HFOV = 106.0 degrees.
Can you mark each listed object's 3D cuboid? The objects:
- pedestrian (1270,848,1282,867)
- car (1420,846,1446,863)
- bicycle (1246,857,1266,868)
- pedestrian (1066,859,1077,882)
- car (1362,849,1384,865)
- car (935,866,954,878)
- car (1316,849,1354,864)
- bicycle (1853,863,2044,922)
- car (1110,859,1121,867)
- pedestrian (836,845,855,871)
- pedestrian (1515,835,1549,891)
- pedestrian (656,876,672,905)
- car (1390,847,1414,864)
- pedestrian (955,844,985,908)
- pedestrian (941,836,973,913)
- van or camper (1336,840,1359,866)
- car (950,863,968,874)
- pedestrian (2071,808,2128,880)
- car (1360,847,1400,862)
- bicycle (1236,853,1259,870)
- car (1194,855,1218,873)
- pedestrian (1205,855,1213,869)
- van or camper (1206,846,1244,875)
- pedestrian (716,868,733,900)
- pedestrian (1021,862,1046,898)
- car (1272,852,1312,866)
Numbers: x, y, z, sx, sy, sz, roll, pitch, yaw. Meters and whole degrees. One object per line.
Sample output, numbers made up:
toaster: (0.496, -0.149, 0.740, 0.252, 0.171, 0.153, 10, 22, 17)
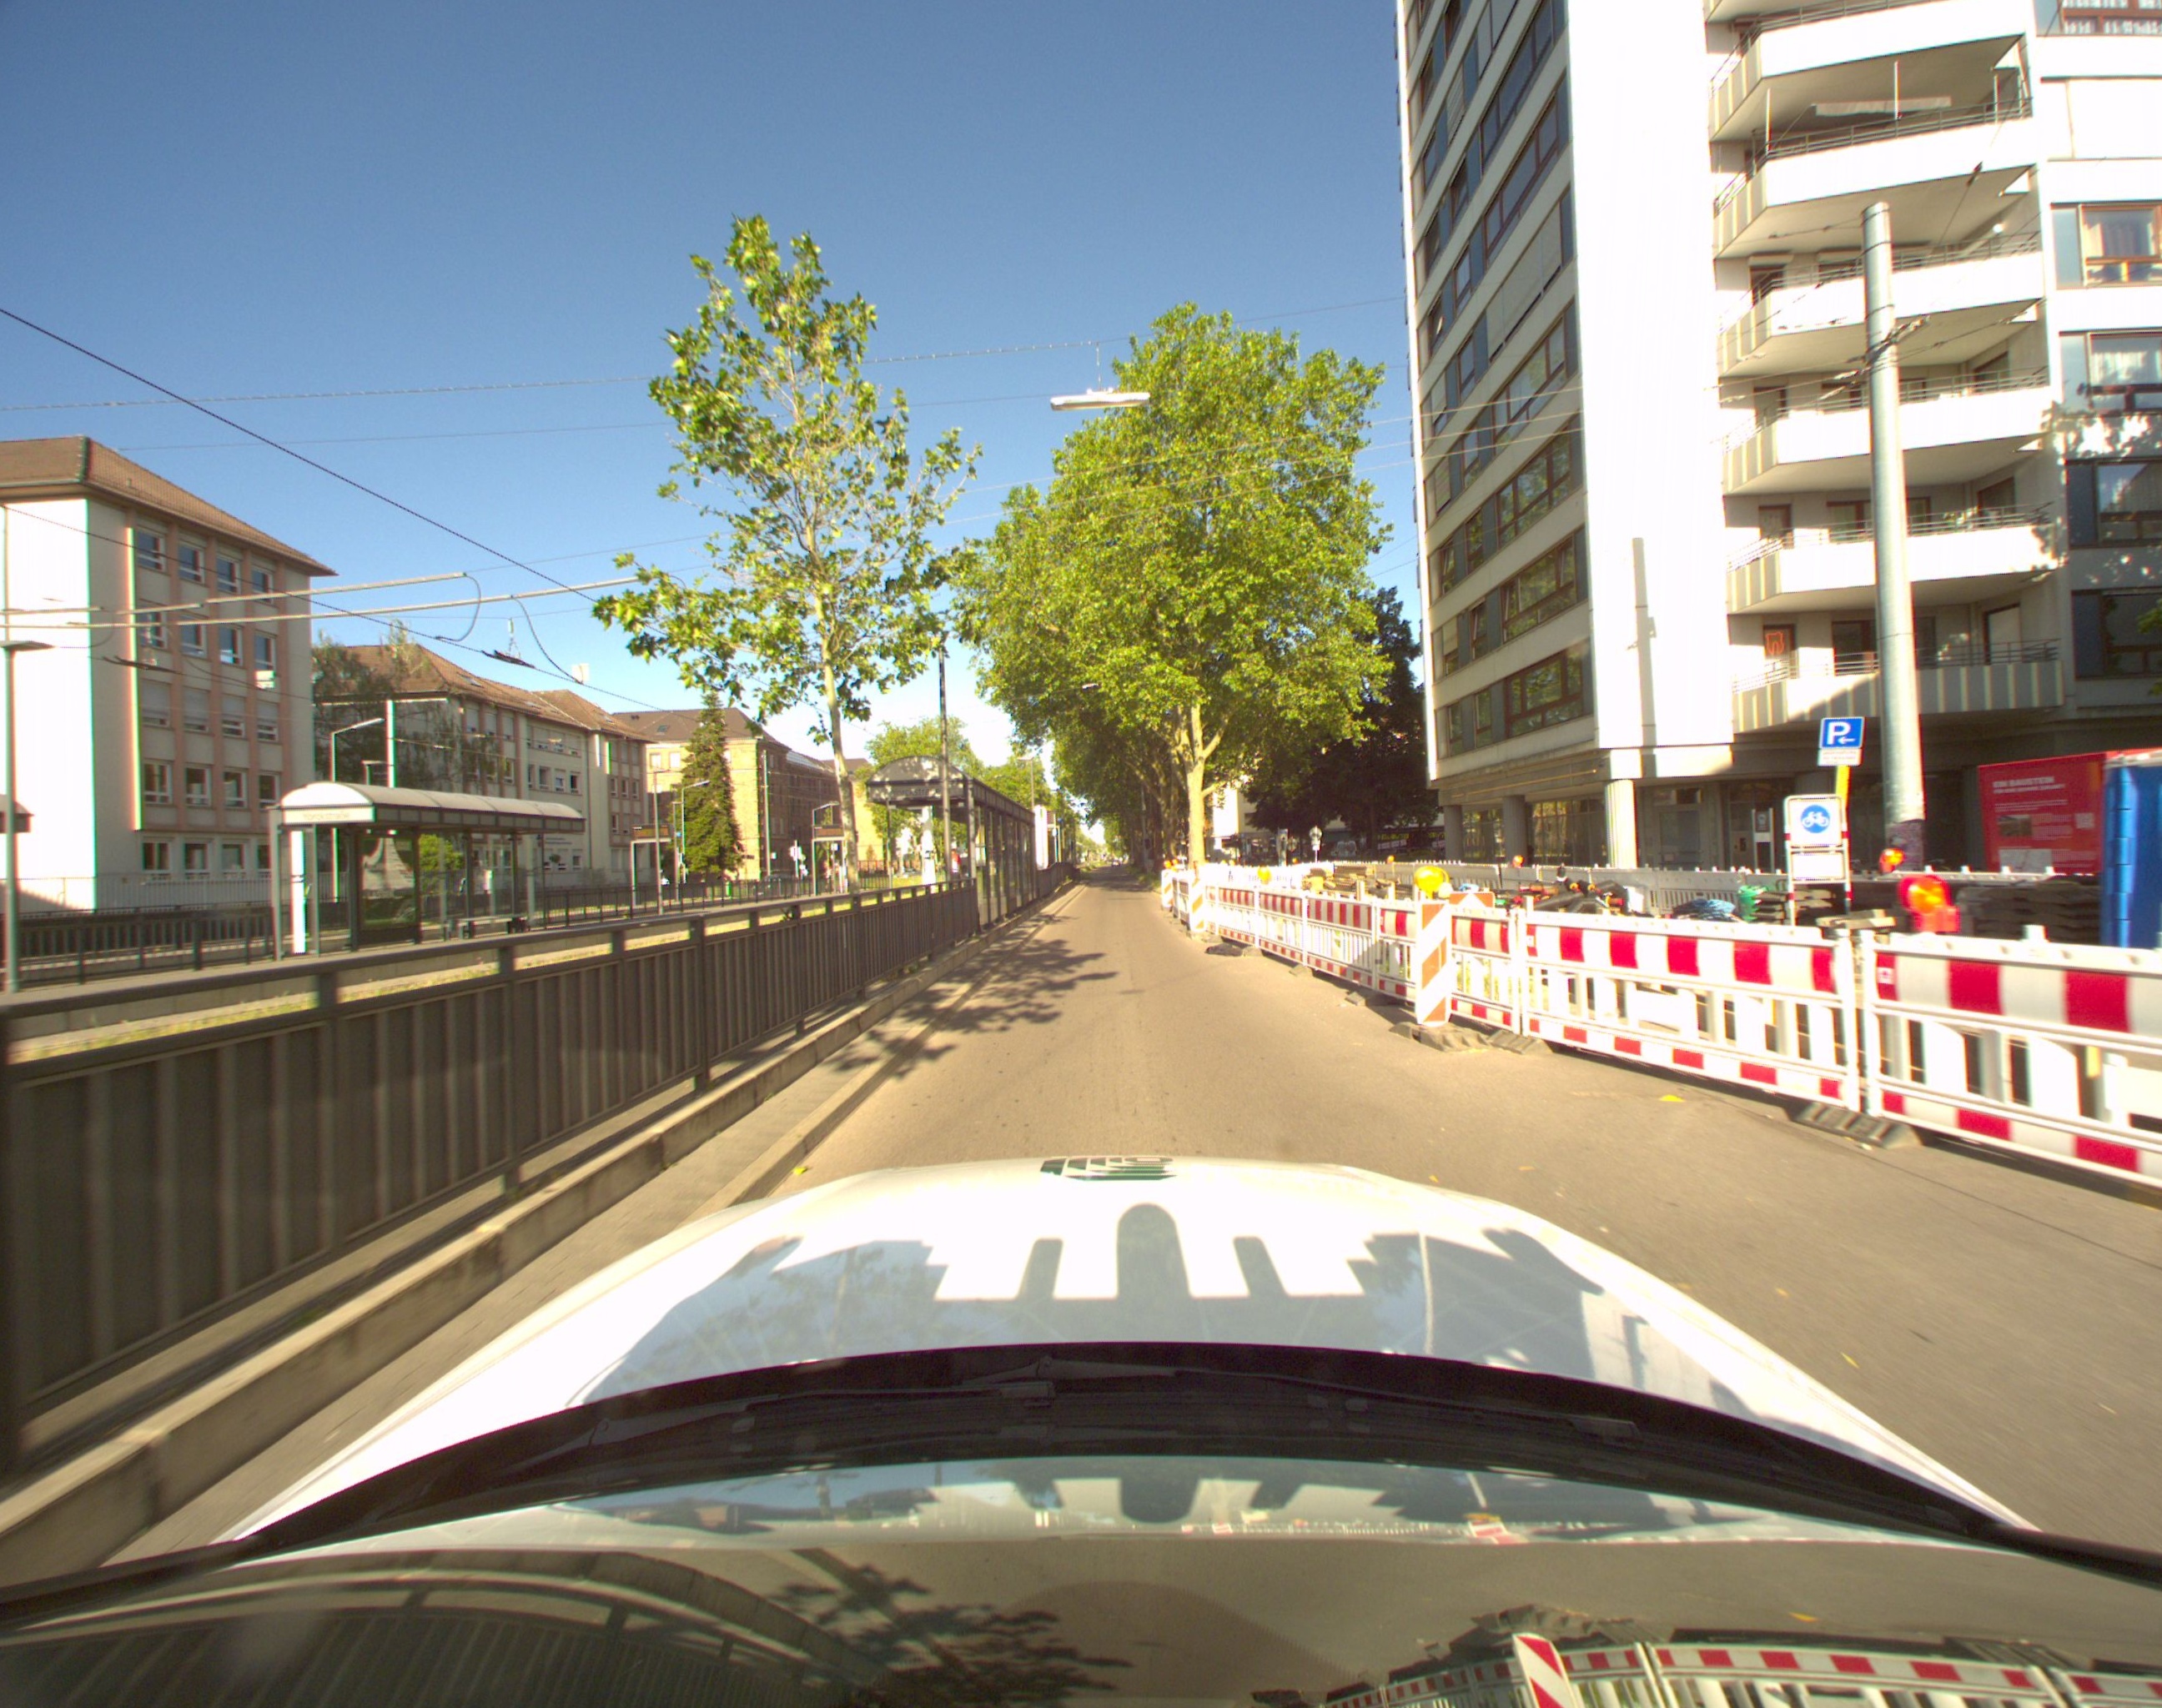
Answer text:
pedestrian: (16.242, 0.290, 67.723, 0.729, 1.616, 1.036, -2, -1, 2)
car: (37.199, 0.033, 86.204, 1.978, 1.628, 4.409, -2, -1, 17)
bicycle: (19.818, 0.947, 92.017, 2.118, 1.103, 0.511, -2, -1, 27)
pedestrian: (-0.704, 1.188, 59.614, 0.709, 1.680, 0.772, -2, -1, 1)
car: (31.389, 0.299, 87.568, 1.978, 1.669, 4.766, -2, -1, 17)
car: (-21.288, 2.733, 127.182, 1.985, 1.649, 4.831, -2, 0, 3)
car: (30.868, 0.302, 98.966, 4.346, 1.644, 2.009, -2, 0, 18)
bicycle: (14.992, 0.665, 14.158, 2.010, 0.943, 1.023, -2, -1, 21)
car: (7.001, 1.838, 165.919, 2.014, 1.662, 4.002, -2, -1, 2)
pedestrian: (-16.046, 0.242, 55.541, 0.948, 1.736, 0.731, -2, 0, 4)
pedestrian: (14.905, 0.303, 26.944, 0.687, 1.815, 0.666, -2, -1, 2)
pedestrian: (-27.974, 2.446, 54.608, 0.690, 1.837, 0.573, -2, -1, 1)
car: (34.287, 0.113, 87.135, 1.978, 1.669, 4.766, -2, -1, 17)
pedestrian: (-3.150, 0.618, 23.187, 0.679, 1.784, 0.755, -1, -1, 3)
pedestrian: (-3.328, 0.536, 21.849, 0.665, 2.014, 0.717, -1, -1, 3)
van or camper: (28.960, -0.124, 88.521, 2.130, 2.636, 5.614, -2, -1, 18)
car: (-20.659, 2.447, 137.832, 1.759, 1.719, 4.428, -2, 0, 7)
pedestrian: (26.709, -0.254, 21.364, 0.652, 1.854, 0.679, 1, -1, 4)
car: (35.727, 0.048, 97.397, 4.346, 1.537, 2.009, -2, 0, 18)
bicycle: (13.053, 0.562, 63.941, 1.600, 1.263, 0.962, -2, -1, -3)
car: (12.859, 0.978, 83.848, 1.812, 1.742, 5.170, -2, -1, 2)
pedestrian: (16.226, 0.964, 103.053, 0.792, 1.704, 0.724, -3, -1, 2)
van or camper: (12.015, 0.561, 68.325, 2.282, 2.286, 5.825, -2, -1, 2)
pedestrian: (-23.086, 1.959, 52.746, 0.660, 2.014, 0.861, -2, -1, 2)
pedestrian: (-1.615, 0.891, 27.889, 0.749, 1.179, 0.813, -1, -1, 1)
car: (26.074, 0.625, 100.599, 4.550, 1.581, 2.009, -2, 0, 17)
